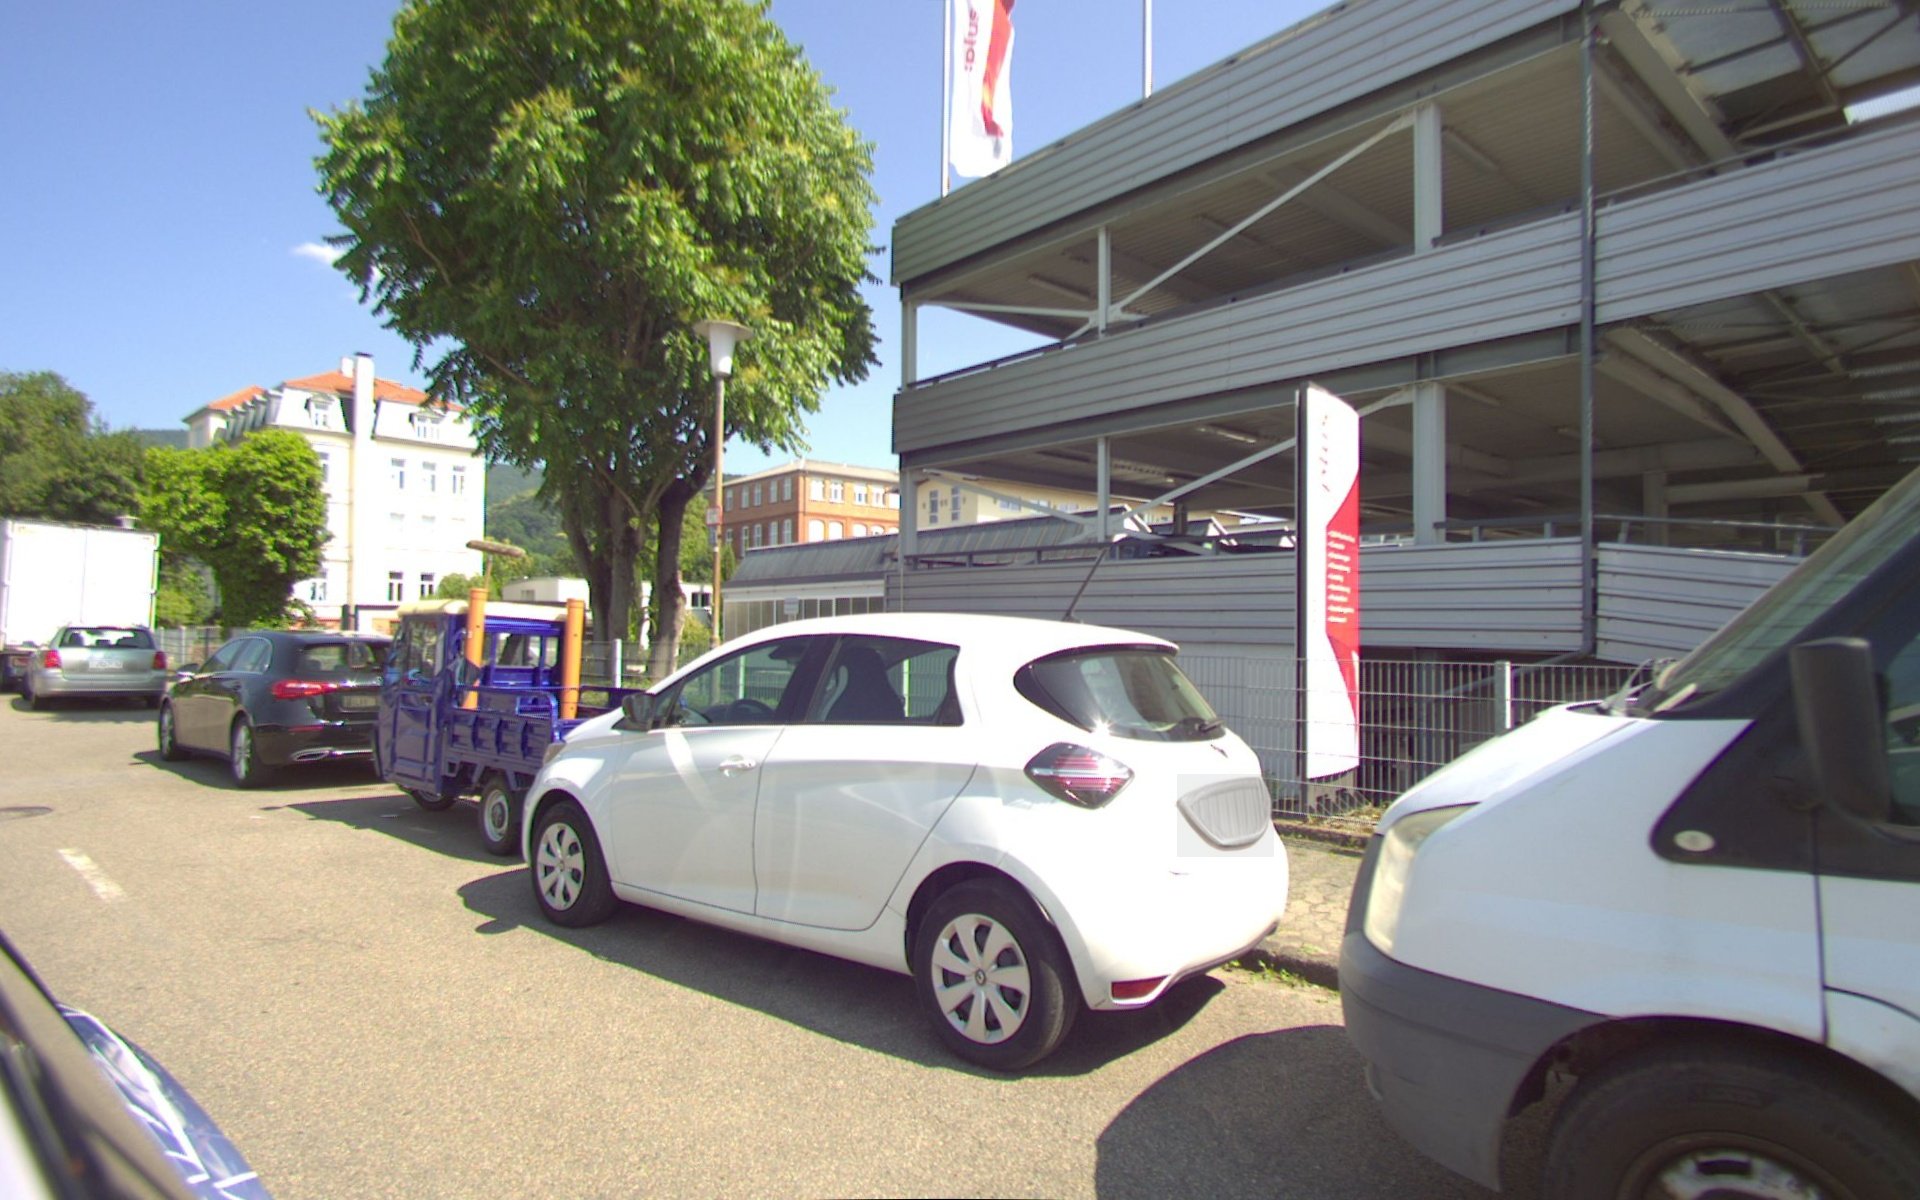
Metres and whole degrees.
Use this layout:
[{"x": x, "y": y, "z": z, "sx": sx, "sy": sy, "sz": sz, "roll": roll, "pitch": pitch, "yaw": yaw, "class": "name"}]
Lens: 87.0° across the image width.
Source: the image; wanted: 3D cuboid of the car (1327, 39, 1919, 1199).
[{"x": 3.450, "y": 0.280, "z": 1.360, "sx": 5.224, "sy": 2.384, "sz": 1.985, "roll": -1, "pitch": -4, "yaw": 40, "class": "car"}]

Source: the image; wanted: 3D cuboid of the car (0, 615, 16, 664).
[{"x": -32.406, "y": 1.232, "z": 33.086, "sx": 4.397, "sy": 1.555, "sz": 1.696, "roll": 0, "pitch": -3, "yaw": 40, "class": "car"}]

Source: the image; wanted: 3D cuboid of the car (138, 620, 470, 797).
[{"x": -6.861, "y": 0.970, "z": 10.422, "sx": 4.110, "sy": 1.474, "sz": 1.687, "roll": -1, "pitch": -3, "yaw": 40, "class": "car"}]

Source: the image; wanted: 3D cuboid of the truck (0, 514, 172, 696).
[{"x": -19.815, "y": 0.146, "z": 22.101, "sx": 7.125, "sy": 3.392, "sz": 2.657, "roll": 0, "pitch": -2, "yaw": 41, "class": "truck"}]

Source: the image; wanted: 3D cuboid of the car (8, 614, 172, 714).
[{"x": -15.224, "y": 1.049, "z": 17.636, "sx": 4.311, "sy": 1.533, "sz": 1.722, "roll": -1, "pitch": -4, "yaw": 44, "class": "car"}]

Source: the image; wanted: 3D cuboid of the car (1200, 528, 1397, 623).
[{"x": 6.642, "y": -0.463, "z": 20.357, "sx": 1.787, "sy": 1.684, "sz": 4.012, "roll": 1, "pitch": 0, "yaw": -15, "class": "car"}]

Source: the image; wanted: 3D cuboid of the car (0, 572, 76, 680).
[{"x": -25.695, "y": 0.659, "z": 27.067, "sx": 6.918, "sy": 2.615, "sz": 2.145, "roll": 0, "pitch": -3, "yaw": 42, "class": "car"}]

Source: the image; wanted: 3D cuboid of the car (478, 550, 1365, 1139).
[{"x": -0.400, "y": 0.751, "z": 4.741, "sx": 3.968, "sy": 1.636, "sz": 1.688, "roll": -1, "pitch": -4, "yaw": 38, "class": "car"}]

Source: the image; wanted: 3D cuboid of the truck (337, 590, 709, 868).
[{"x": -3.300, "y": 0.814, "z": 7.423, "sx": 3.138, "sy": 1.634, "sz": 1.127, "roll": -1, "pitch": -4, "yaw": 39, "class": "truck"}]

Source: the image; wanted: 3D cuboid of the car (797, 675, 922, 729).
[{"x": -3.312, "y": 3.273, "z": 32.967, "sx": 1.971, "sy": 1.453, "sz": 4.002, "roll": 2, "pitch": -2, "yaw": -45, "class": "car"}]

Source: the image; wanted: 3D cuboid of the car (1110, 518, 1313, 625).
[{"x": 4.395, "y": -0.473, "z": 18.363, "sx": 1.787, "sy": 1.684, "sz": 4.012, "roll": 1, "pitch": 0, "yaw": -15, "class": "car"}]
